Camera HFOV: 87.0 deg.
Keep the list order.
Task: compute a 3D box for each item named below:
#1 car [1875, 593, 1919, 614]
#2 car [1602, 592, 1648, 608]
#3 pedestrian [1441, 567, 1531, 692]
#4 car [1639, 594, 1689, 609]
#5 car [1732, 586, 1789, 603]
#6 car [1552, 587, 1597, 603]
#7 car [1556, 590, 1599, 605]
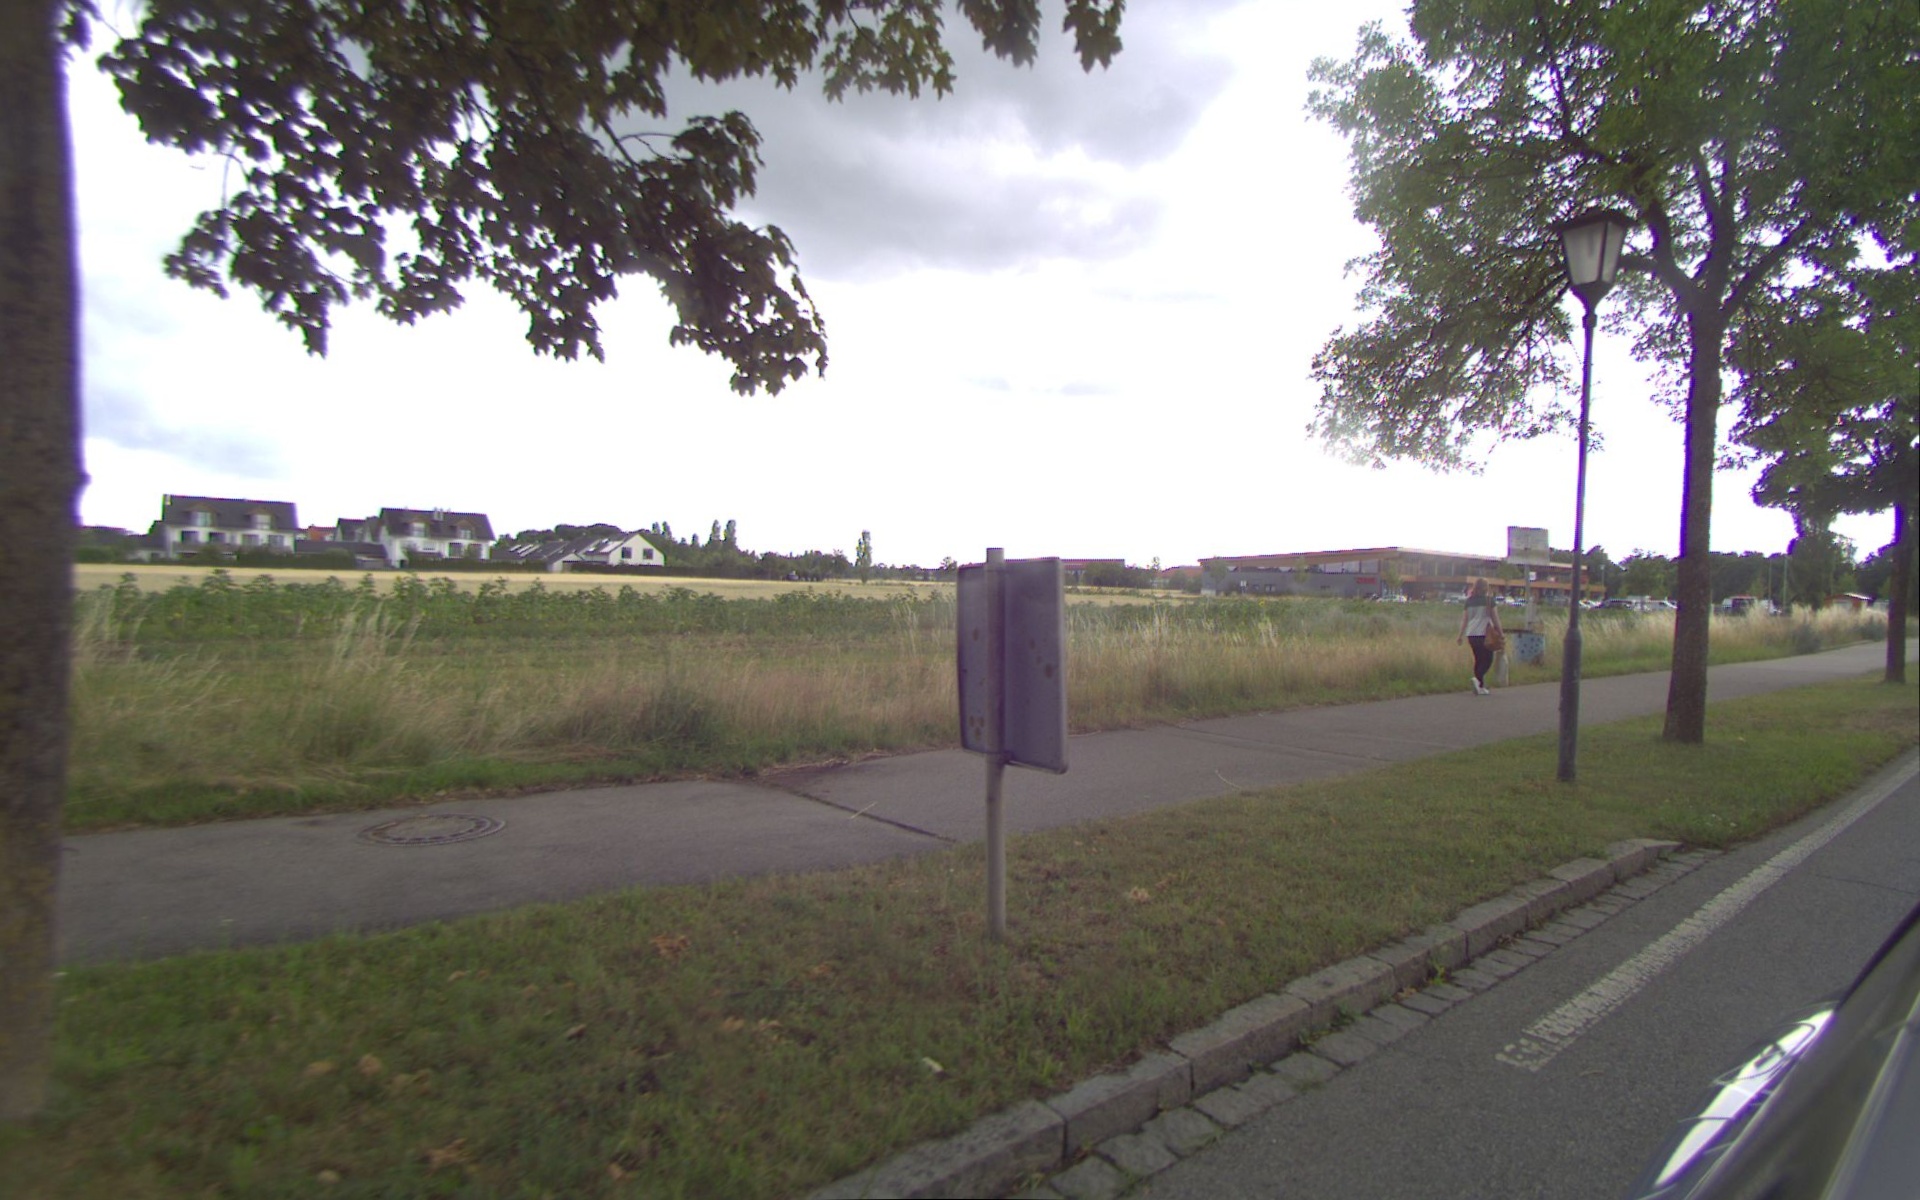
[{"bbox_3d":[95.617,0.318,101.575,1.967,2.039,5.513,0,0,-44],"label":"car"},{"bbox_3d":[87.701,-0.001,133.495,4.843,2.039,1.968,1,0,44],"label":"car"},{"bbox_3d":[7.762,0.409,14.933,0.853,1.777,0.840,1,1,-34],"label":"pedestrian"},{"bbox_3d":[99.171,0.231,142.580,1.967,2.039,5.513,0,0,-44],"label":"car"},{"bbox_3d":[103.031,-0.724,130.305,1.967,2.039,5.513,0,0,-44],"label":"car"},{"bbox_3d":[82.147,-0.666,135.315,4.843,2.039,1.968,1,0,44],"label":"car"},{"bbox_3d":[85.829,-0.335,140.673,4.843,2.039,1.968,1,0,44],"label":"car"}]
